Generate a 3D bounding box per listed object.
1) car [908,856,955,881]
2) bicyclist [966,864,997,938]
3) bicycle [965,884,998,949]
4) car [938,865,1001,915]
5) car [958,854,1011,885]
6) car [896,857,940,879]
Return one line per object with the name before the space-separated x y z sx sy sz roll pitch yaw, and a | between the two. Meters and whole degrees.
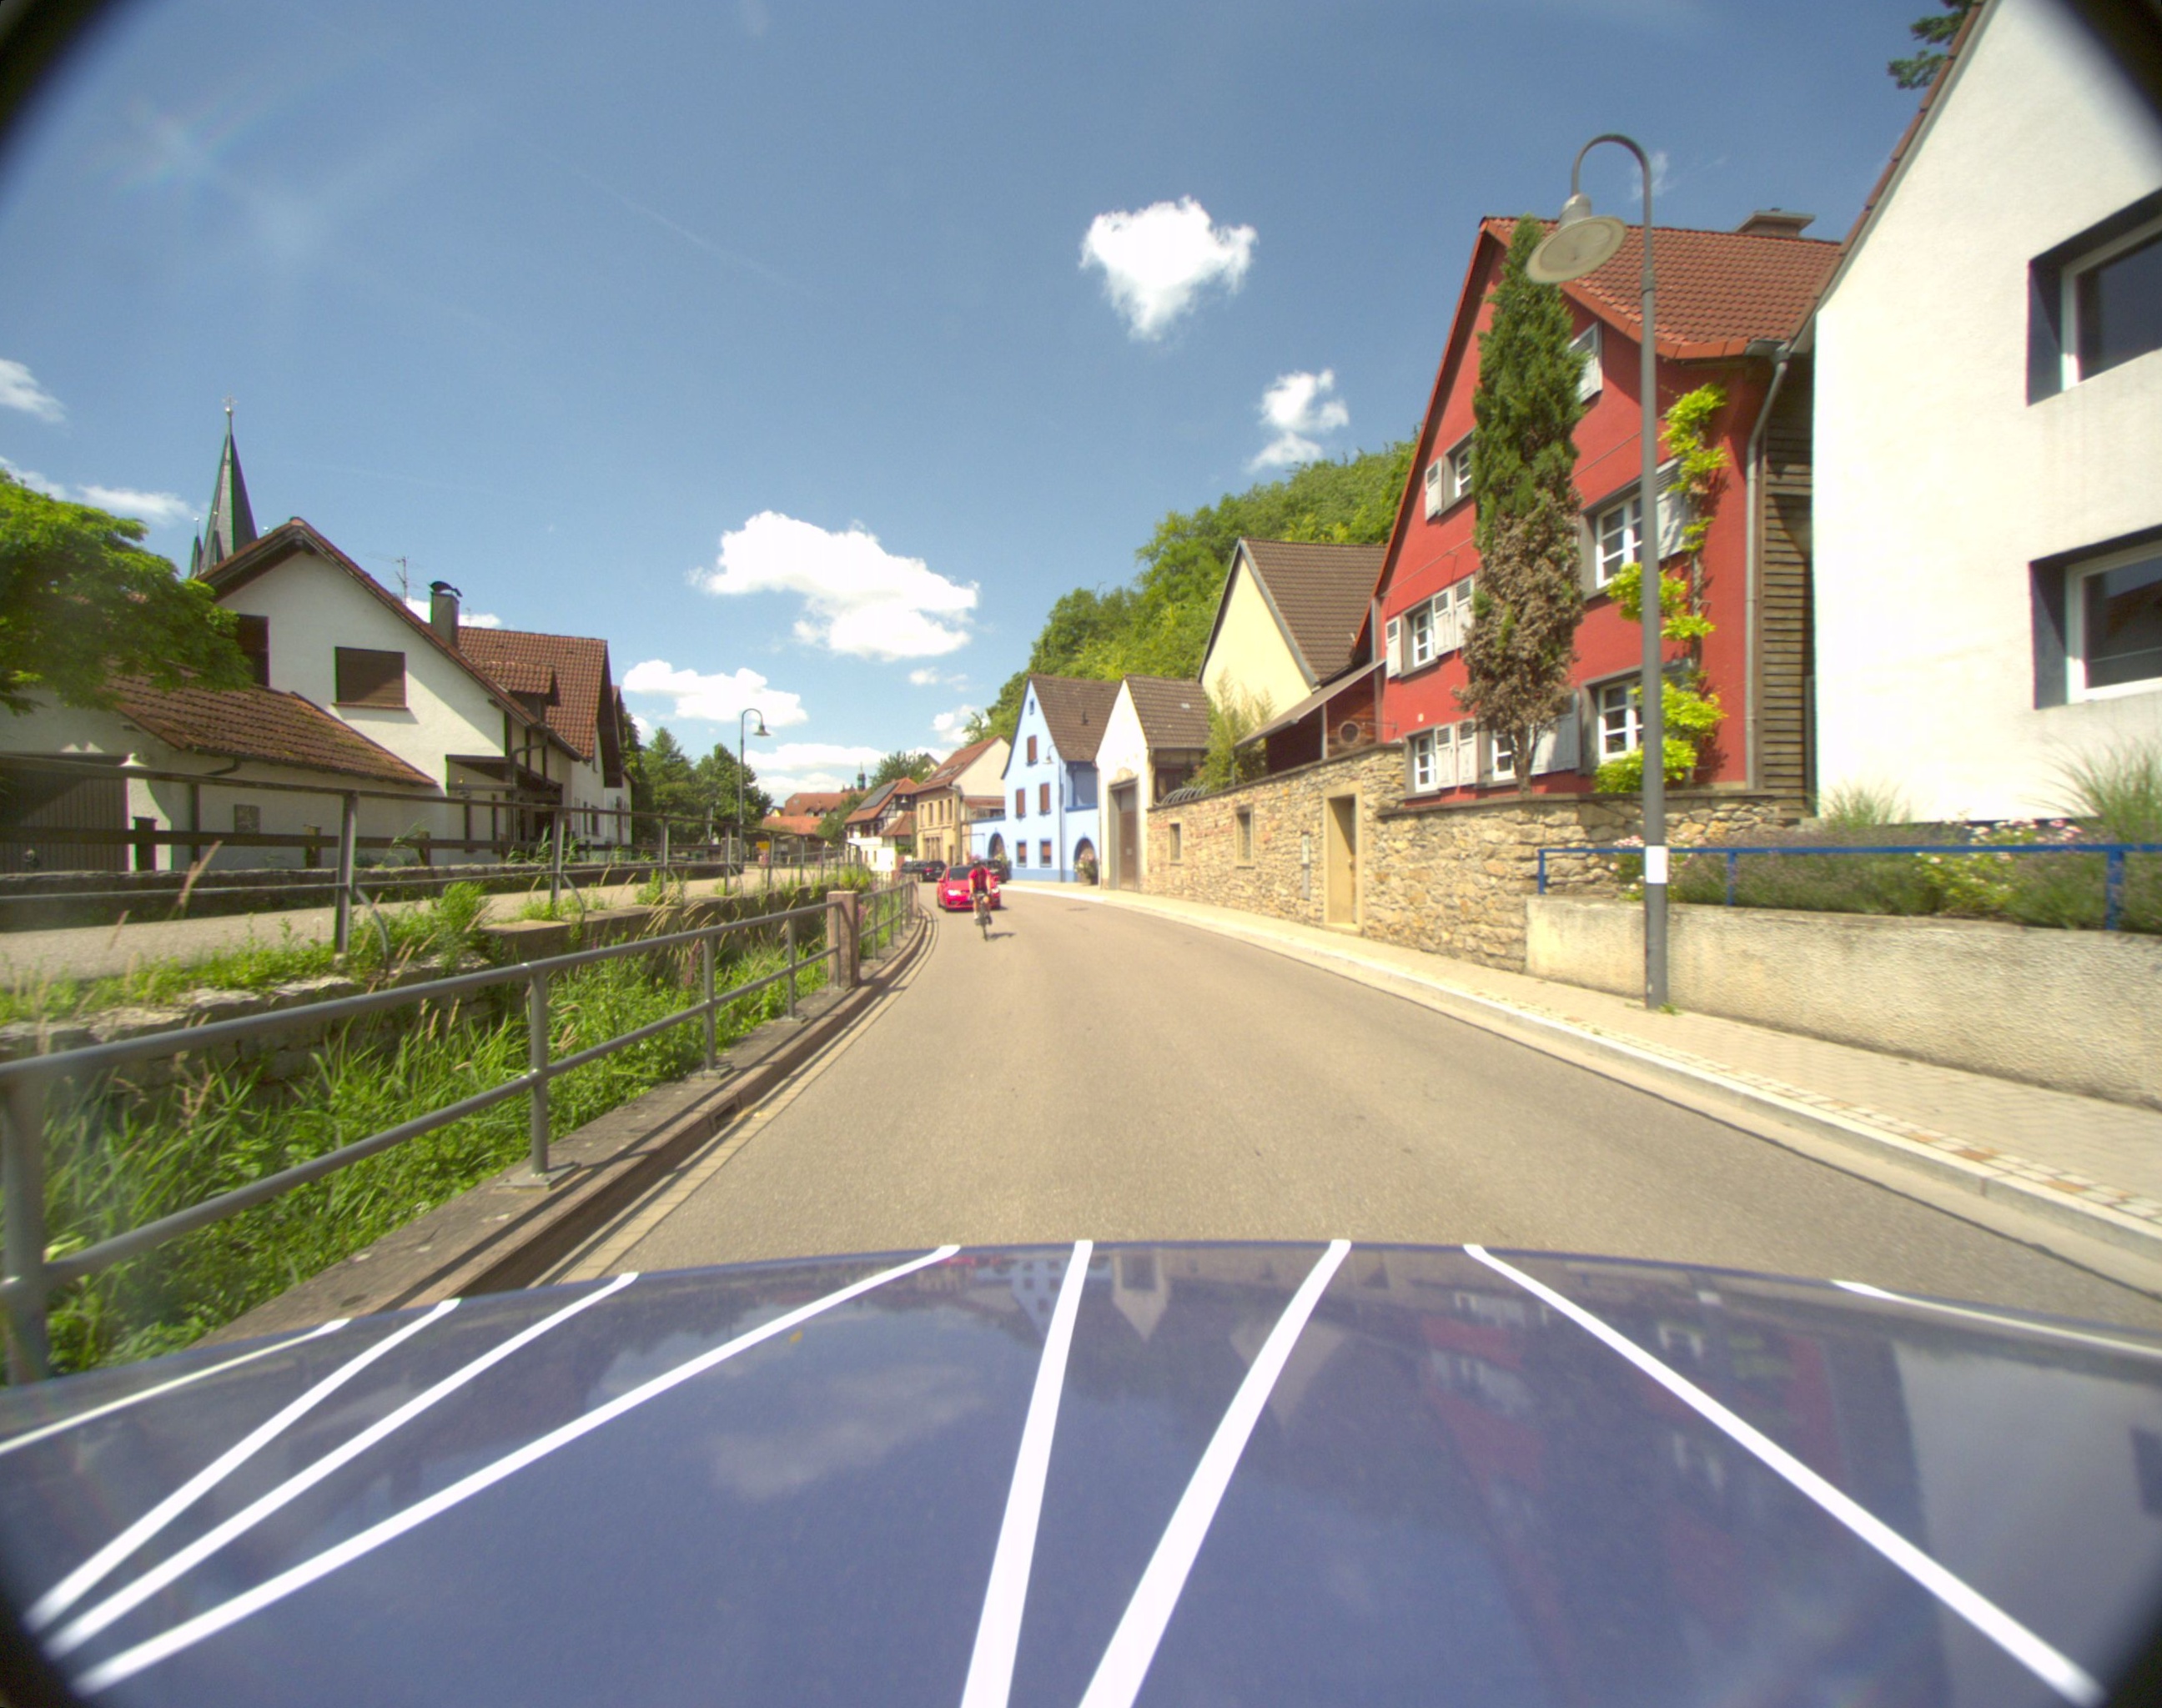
car | -10.167 0.975 51.416 1.893 1.456 4.659 -5 1 -26
bicyclist | -1.957 0.903 14.986 0.532 1.396 0.754 -2 1 -6
bicycle | -1.923 1.178 14.844 0.531 1.070 2.052 -2 1 -6
car | -3.596 1.070 23.988 1.671 1.344 3.490 -2 0 -13
car | -5.382 0.840 42.109 1.724 1.521 3.848 -4 2 -25
car | -12.021 1.011 55.890 1.966 1.457 4.535 -2 1 -29
